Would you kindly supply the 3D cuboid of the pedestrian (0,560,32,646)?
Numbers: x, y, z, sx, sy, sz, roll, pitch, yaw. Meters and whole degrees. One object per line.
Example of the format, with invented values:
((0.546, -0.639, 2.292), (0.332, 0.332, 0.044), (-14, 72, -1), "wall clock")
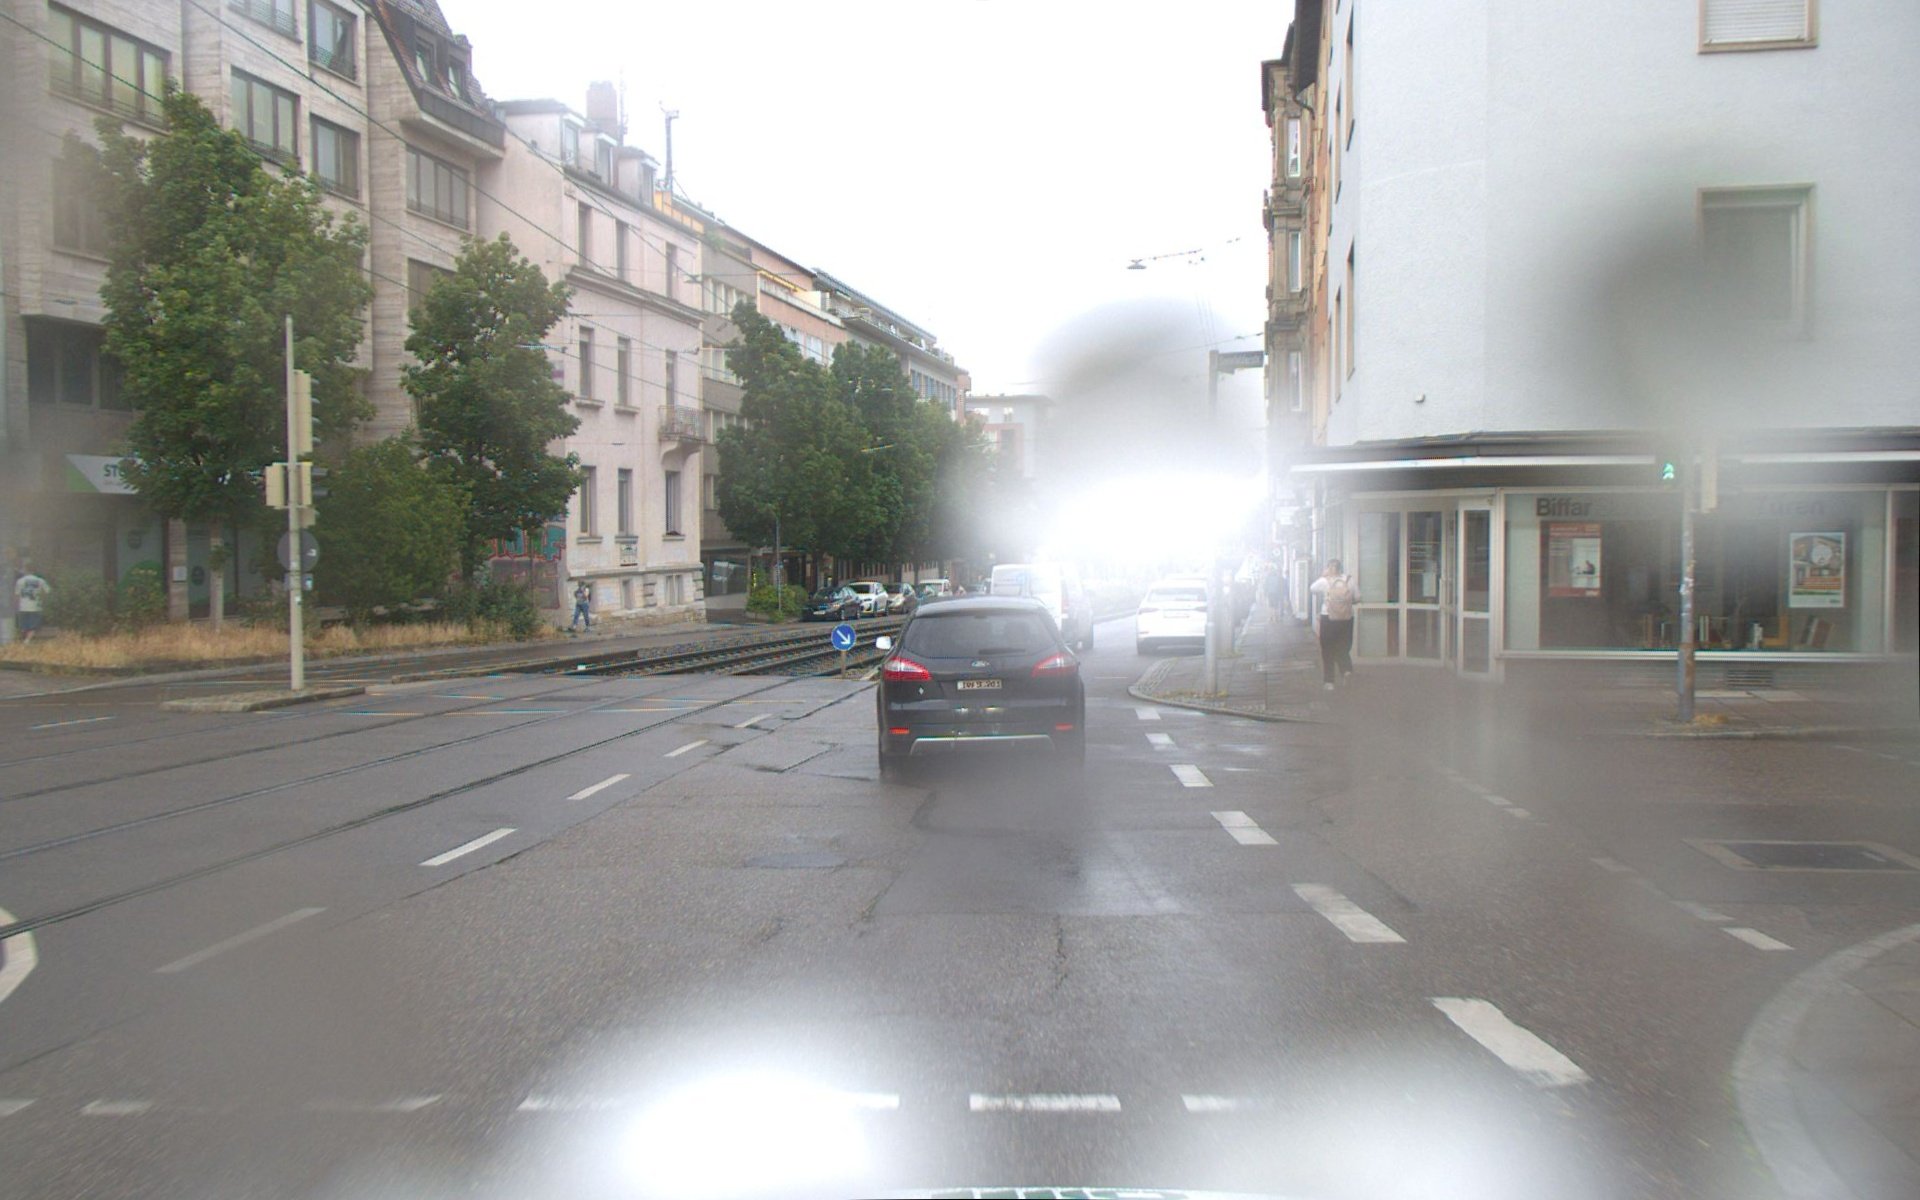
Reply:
((-18.282, 0.060, 31.771), (0.493, 1.625, 0.586), (2, -1, 9), "pedestrian")

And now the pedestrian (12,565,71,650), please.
((-17.401, 0.146, 31.340), (0.634, 1.576, 0.684), (2, -1, 9), "pedestrian")

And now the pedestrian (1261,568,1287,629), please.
((9.846, -0.061, 51.880), (0.688, 1.850, 0.962), (-3, 1, 11), "pedestrian")

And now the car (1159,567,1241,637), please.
((6.070, 0.061, 41.449), (1.806, 1.661, 4.590), (0, 0, 11), "car")

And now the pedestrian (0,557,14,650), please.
((-18.331, 0.059, 31.042), (0.634, 1.754, 0.684), (2, -1, 9), "pedestrian")

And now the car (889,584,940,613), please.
((-2.414, -0.039, 89.657), (1.816, 1.443, 4.435), (-2, -1, 11), "car")

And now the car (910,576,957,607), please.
((-1.503, -0.450, 95.506), (1.816, 1.731, 4.435), (0, 0, 11), "car")

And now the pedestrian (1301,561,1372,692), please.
((4.716, 0.333, 20.744), (0.674, 1.599, 0.763), (-1, -1, -1), "pedestrian")

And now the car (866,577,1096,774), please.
((0.183, 0.620, 15.173), (1.805, 1.533, 4.000), (-1, -1, 0), "car")

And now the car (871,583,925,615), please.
((-3.120, -0.015, 84.613), (1.816, 1.576, 4.435), (0, 0, 11), "car")

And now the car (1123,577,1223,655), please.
((4.520, 0.324, 34.581), (1.763, 1.481, 4.590), (-1, -1, 11), "car")

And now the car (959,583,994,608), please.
((1.101, -0.289, 108.364), (1.632, 1.585, 4.049), (0, 0, 11), "car")

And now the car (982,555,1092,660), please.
((1.730, 0.103, 35.703), (1.946, 2.096, 4.649), (0, 1, 8), "car")

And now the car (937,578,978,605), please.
((-0.127, -0.499, 101.188), (1.816, 1.553, 4.049), (0, 0, 11), "car")

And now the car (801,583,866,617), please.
((-5.491, 0.019, 72.246), (1.657, 1.402, 4.724), (0, -1, 11), "car")

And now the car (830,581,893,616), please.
((-4.614, -0.049, 78.106), (1.816, 1.576, 4.724), (0, 0, 11), "car")

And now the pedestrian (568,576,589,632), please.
((-11.699, 0.127, 50.753), (0.458, 1.681, 0.582), (2, -1, -1), "pedestrian")

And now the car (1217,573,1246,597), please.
((16.405, -0.904, 99.871), (1.635, 1.446, 3.479), (-1, 0, 10), "car")
